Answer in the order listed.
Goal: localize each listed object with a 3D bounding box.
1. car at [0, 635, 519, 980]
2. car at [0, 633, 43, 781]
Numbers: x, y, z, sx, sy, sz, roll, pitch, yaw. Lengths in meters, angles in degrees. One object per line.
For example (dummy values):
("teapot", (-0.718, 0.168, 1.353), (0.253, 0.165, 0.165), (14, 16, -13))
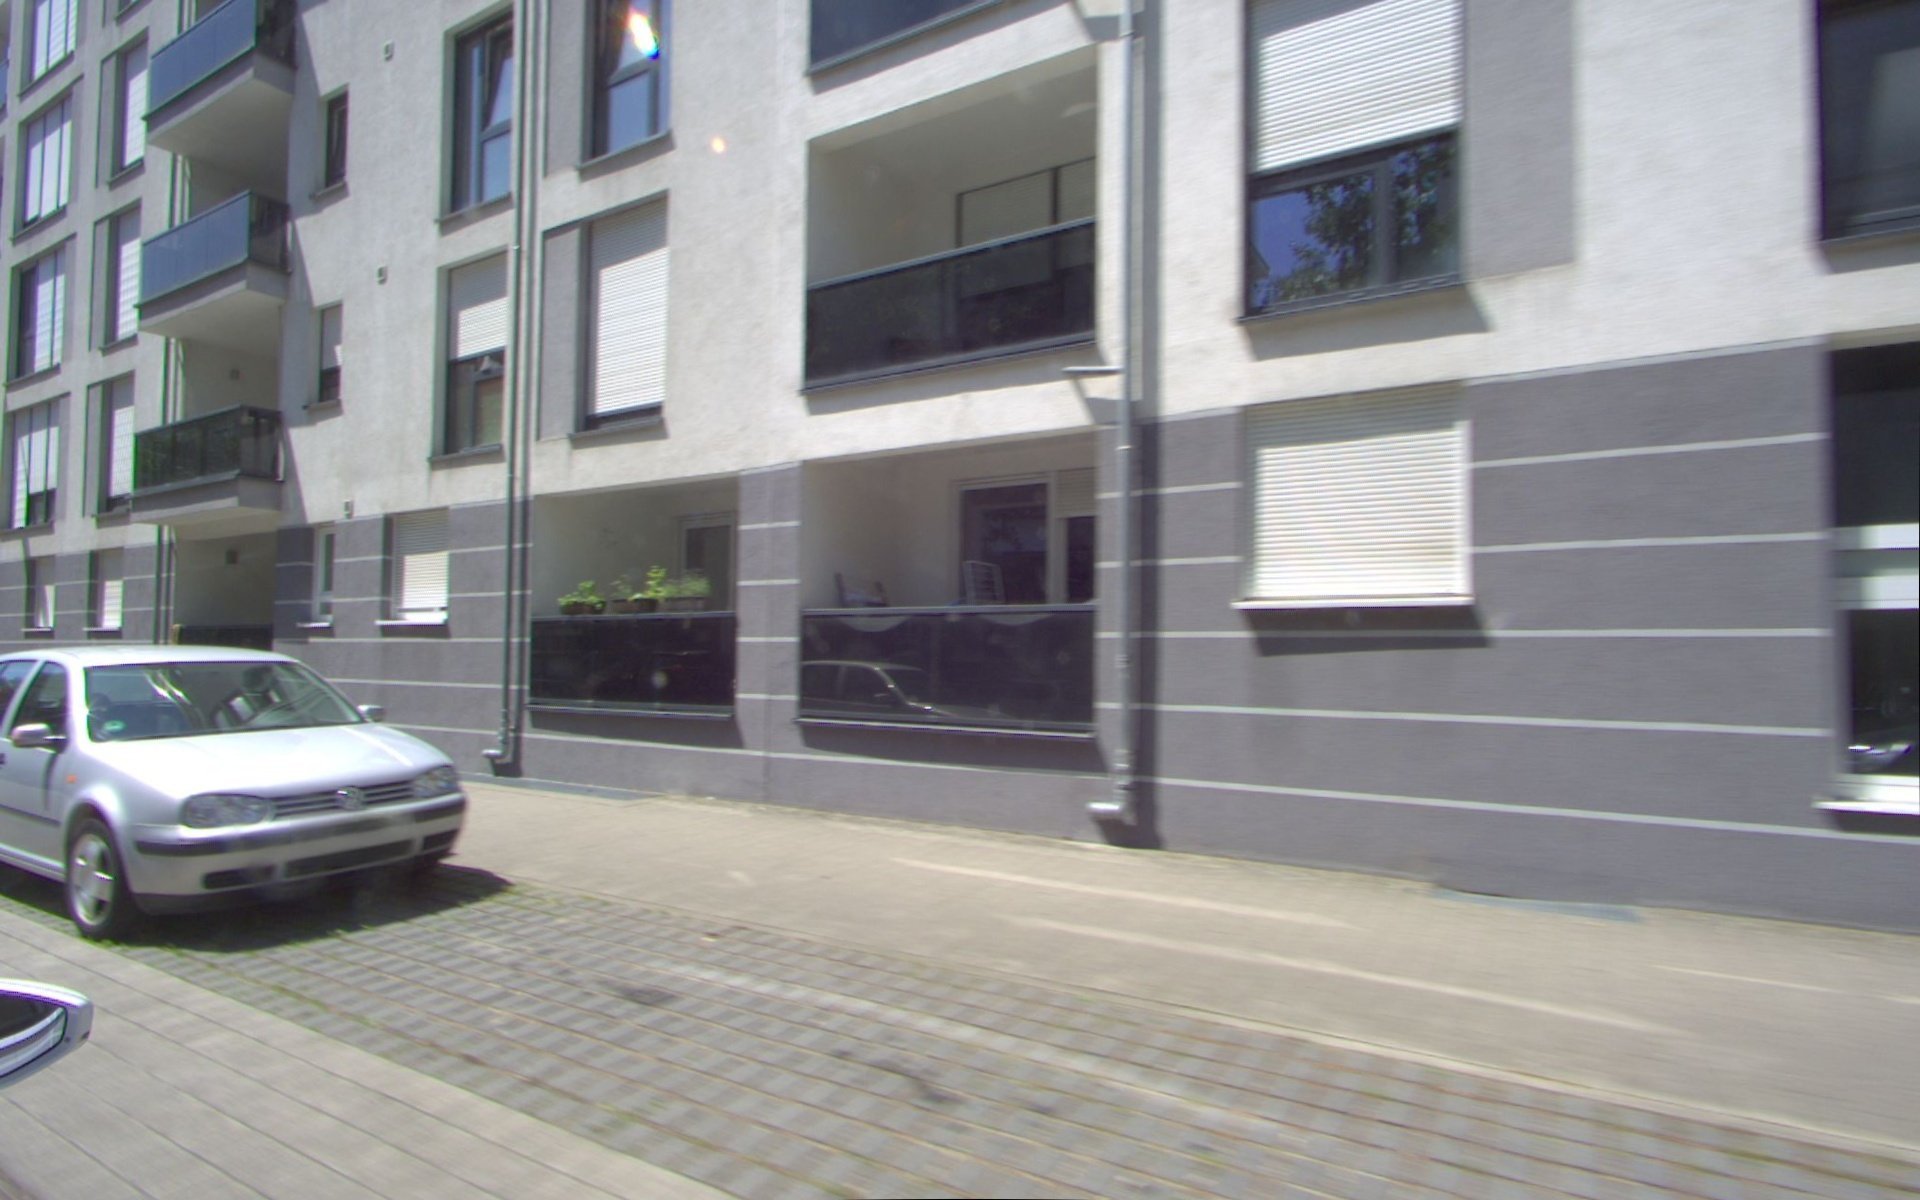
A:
("car", (-4.943, 0.987, 6.357), (4.288, 1.524, 1.831), (-1, -2, 32))
("car", (-11.820, 1.101, 10.826), (4.168, 1.504, 1.736), (-1, -2, 32))
